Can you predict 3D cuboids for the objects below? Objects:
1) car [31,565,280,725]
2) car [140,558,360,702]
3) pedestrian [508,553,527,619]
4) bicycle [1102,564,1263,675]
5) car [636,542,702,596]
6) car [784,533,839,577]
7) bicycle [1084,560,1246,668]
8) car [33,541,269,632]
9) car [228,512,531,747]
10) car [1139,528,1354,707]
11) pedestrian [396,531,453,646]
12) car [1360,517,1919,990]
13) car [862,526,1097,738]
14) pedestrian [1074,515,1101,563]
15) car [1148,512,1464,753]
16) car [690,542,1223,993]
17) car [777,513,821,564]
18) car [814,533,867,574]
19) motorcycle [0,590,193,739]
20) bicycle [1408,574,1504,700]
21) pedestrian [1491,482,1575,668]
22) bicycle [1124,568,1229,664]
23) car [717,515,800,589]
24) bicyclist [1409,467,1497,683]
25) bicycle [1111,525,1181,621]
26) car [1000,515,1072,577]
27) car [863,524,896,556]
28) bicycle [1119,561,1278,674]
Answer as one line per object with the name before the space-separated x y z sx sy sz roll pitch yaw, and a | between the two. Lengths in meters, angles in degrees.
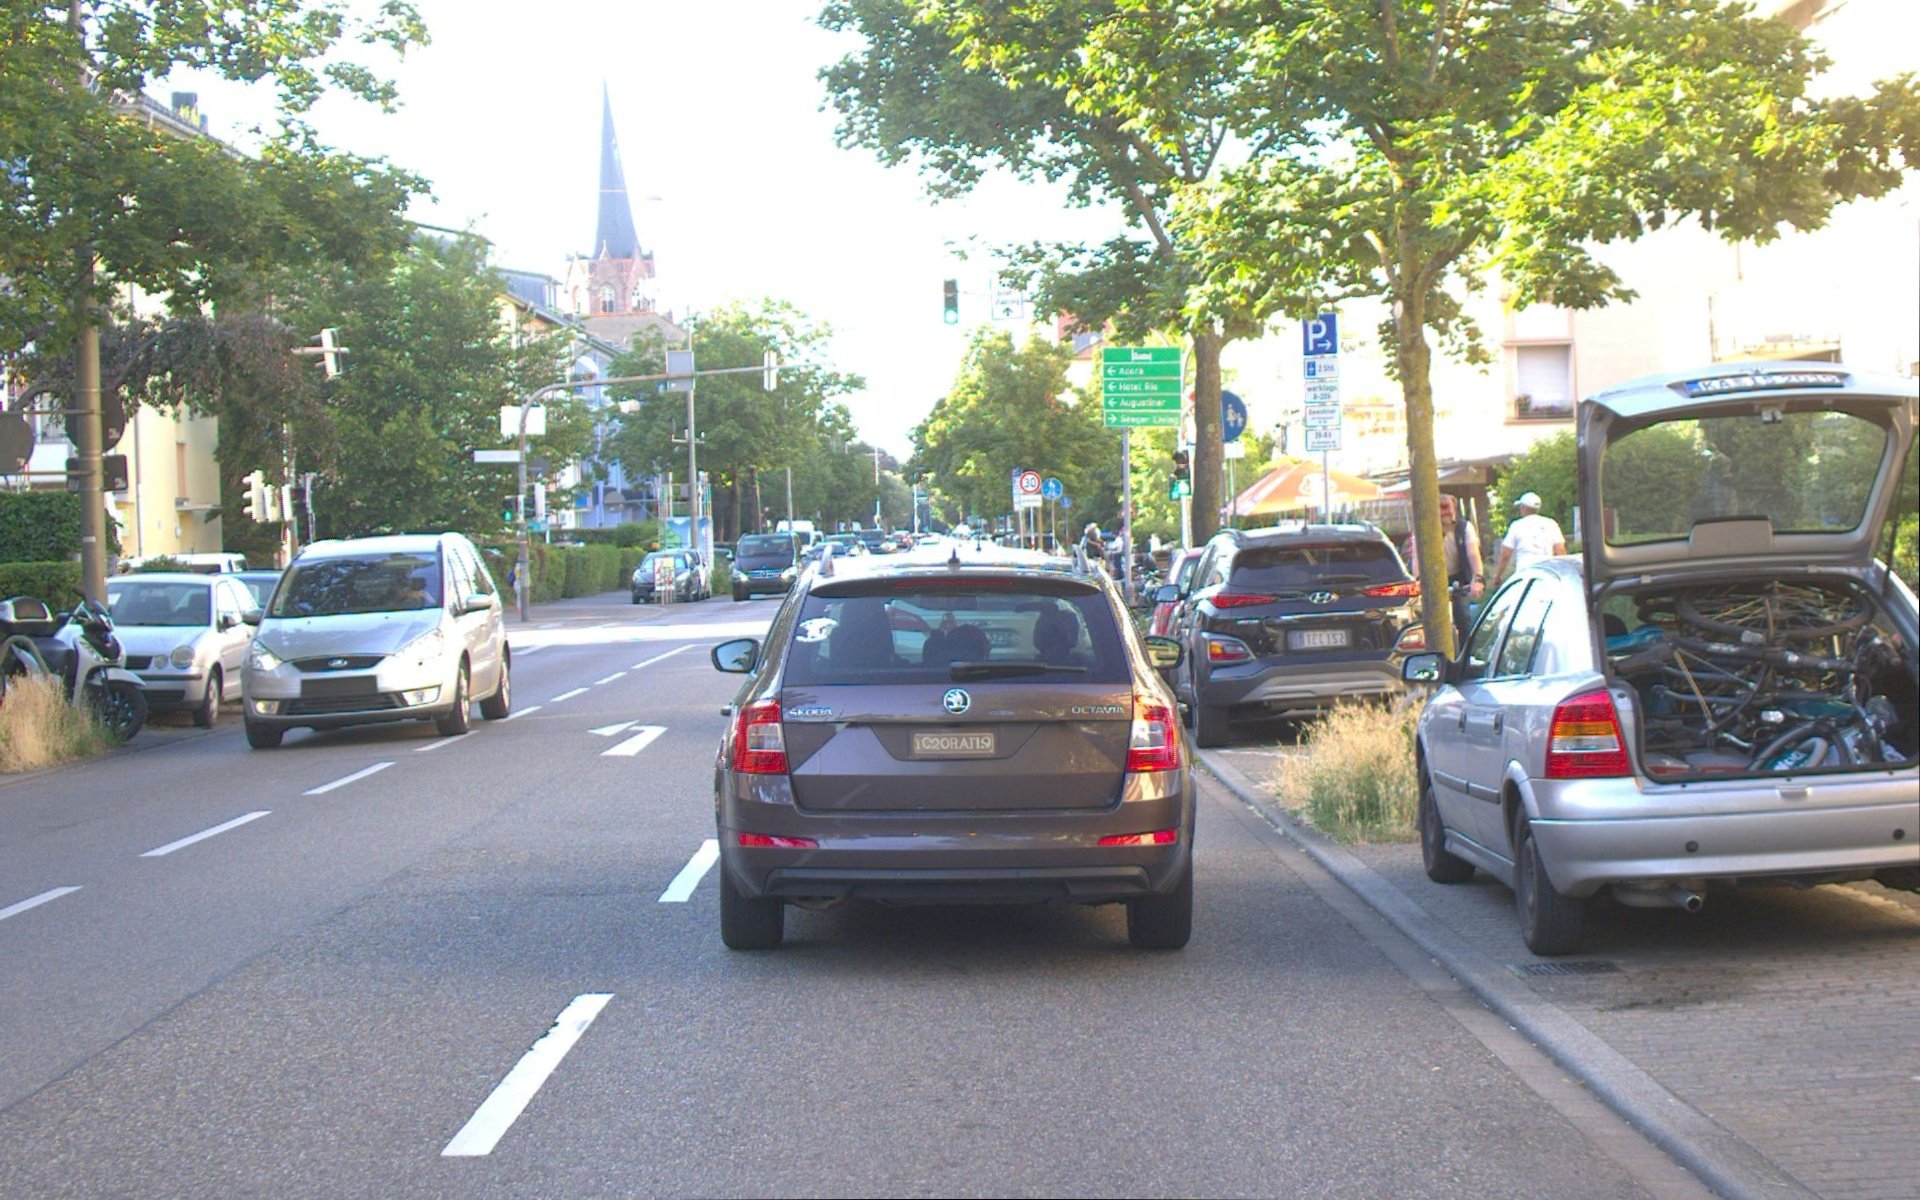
car | -7.971 0.406 34.348 1.593 1.465 3.804 1 1 0
car | -7.986 0.297 38.977 1.648 1.512 4.074 0 1 0
pedestrian | -10.189 -0.330 79.225 0.301 1.499 0.640 -2 1 1
bicycle | 2.478 0.215 38.182 1.687 1.103 0.517 -4 1 7
car | -8.175 -0.892 96.721 1.522 1.452 3.585 -2 1 0
car | -5.537 -1.683 128.471 1.830 1.574 4.000 -2 1 0
bicycle | 2.460 0.160 41.142 1.835 1.153 0.683 -4 1 7
car | -17.549 -0.304 74.732 4.634 1.805 1.862 -2 1 0
car | -4.978 0.194 30.112 1.805 1.798 4.746 -3 1 -1
car | 2.565 0.107 31.565 1.703 1.445 4.013 -3 1 2
pedestrian | -9.332 -0.205 59.938 0.780 1.981 0.821 -2 1 1
car | 2.745 0.466 13.549 1.708 1.475 4.269 -3 1 -1
car | 0.167 0.204 27.567 1.737 1.565 4.000 0 1 1
pedestrian | 4.553 -2.175 122.777 0.675 1.698 0.800 -1 1 26
car | 2.519 0.189 25.942 1.856 1.576 4.014 -3 1 -1
car | -0.037 0.524 13.656 1.773 1.484 4.311 0 1 -1
car | -8.103 -3.099 173.306 1.993 2.469 4.000 -2 1 0
car | -4.987 -1.963 144.341 1.993 1.605 4.000 -2 1 1
motorcycle | -7.826 0.571 30.640 2.052 1.260 0.765 -1 1 38
bicycle | 4.163 0.294 28.951 0.516 0.984 1.831 -1 1 0
pedestrian | 5.521 -0.243 33.160 0.663 1.743 0.772 -3 1 6
bicycle | 2.489 0.175 39.445 0.619 1.048 1.571 -1 1 26
car | -5.656 -1.355 96.879 1.993 1.902 4.964 -4 1 -1
bicyclist | 4.146 -0.214 28.952 0.581 1.782 0.852 -1 1 0
bicycle | 2.336 -0.338 43.335 0.501 1.143 1.959 -4 1 -6
car | 2.257 -1.596 100.928 1.994 1.766 4.000 0 1 3
car | -5.226 -3.904 224.520 1.993 2.007 4.000 -2 1 0
bicycle | 2.430 0.173 35.065 1.570 1.100 0.392 -2 1 1
